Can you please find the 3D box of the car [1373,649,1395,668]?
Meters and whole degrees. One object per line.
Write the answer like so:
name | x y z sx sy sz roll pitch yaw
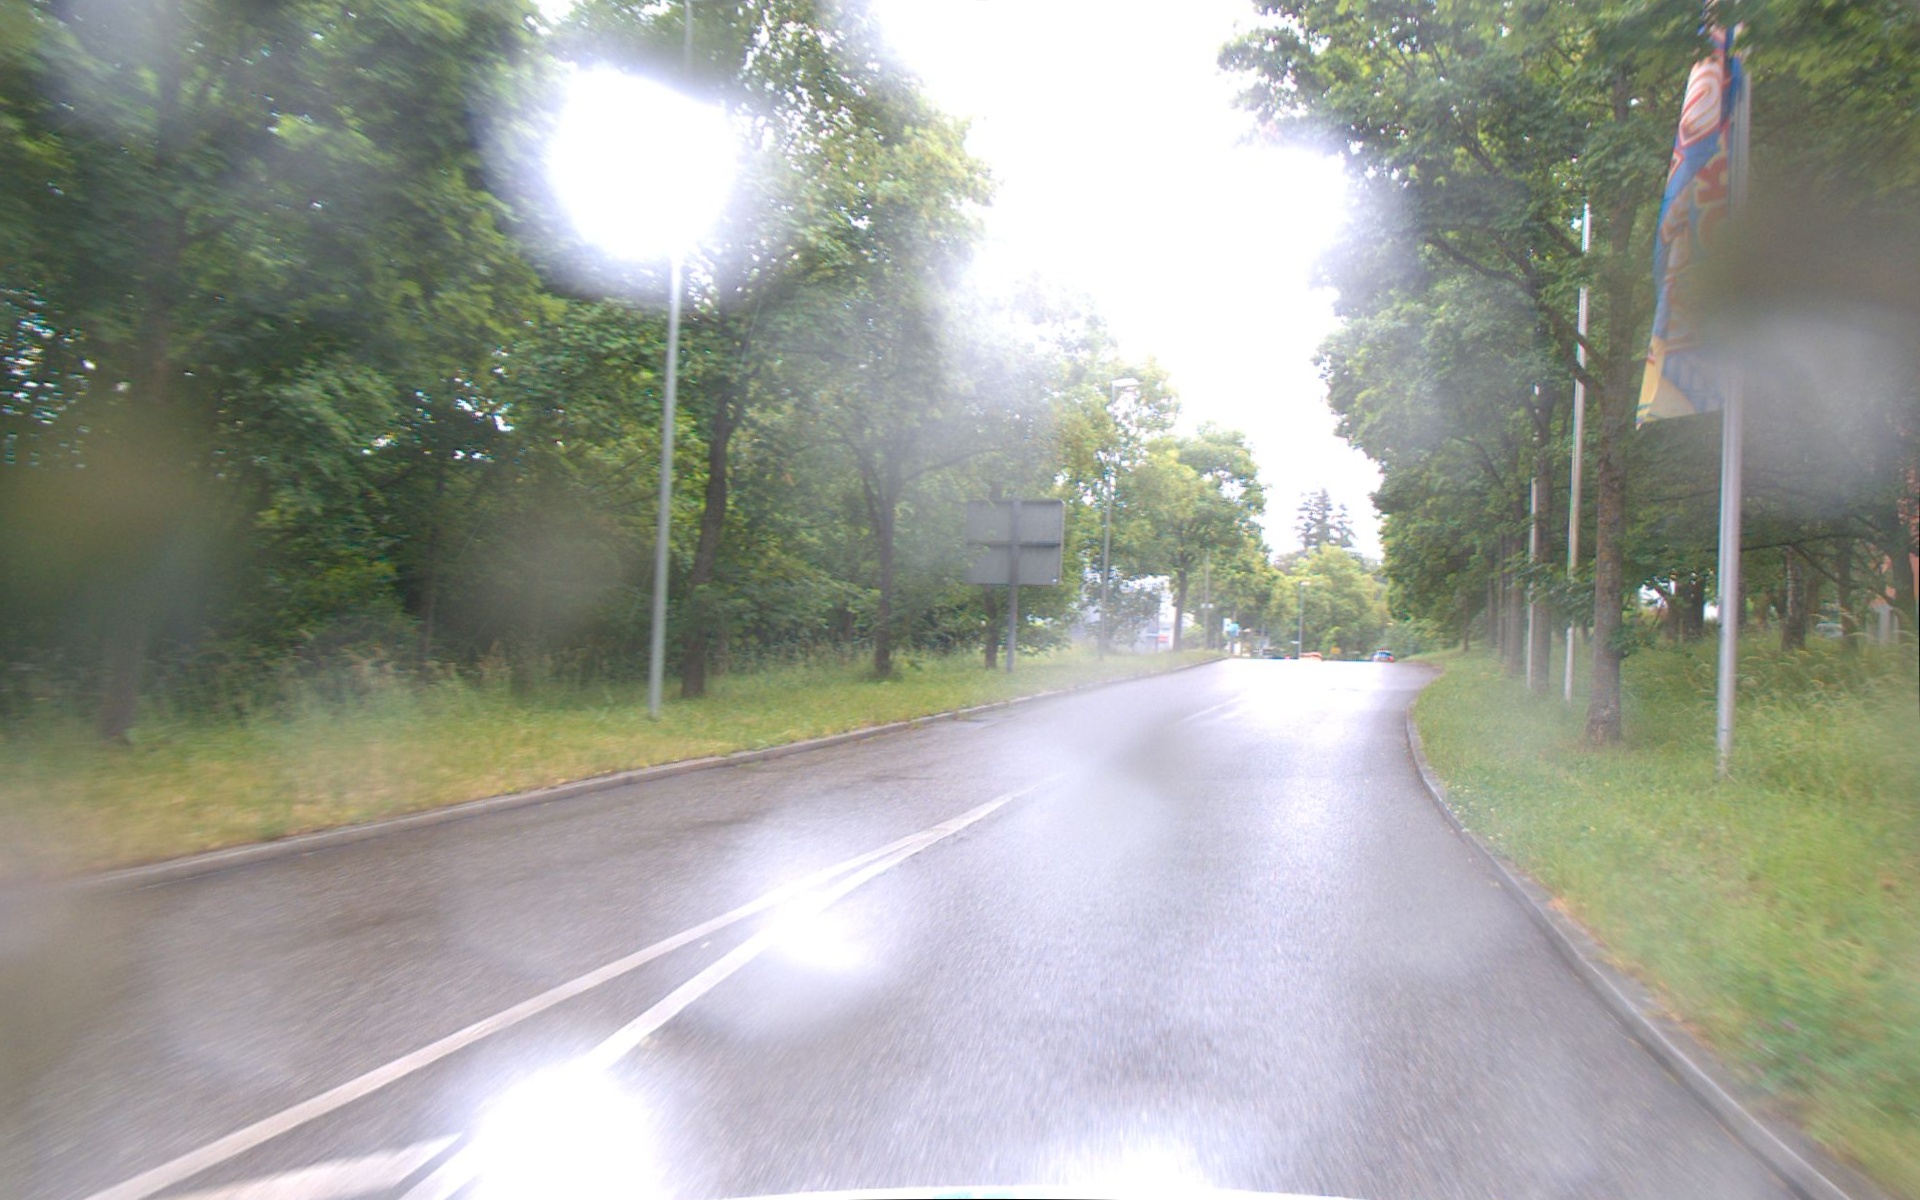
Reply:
car | 36.600 5.074 142.822 1.700 1.537 4.002 -1 -3 16

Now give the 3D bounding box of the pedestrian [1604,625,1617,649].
pedestrian | 36.123 2.070 91.859 0.640 1.307 0.625 -1 -2 17
